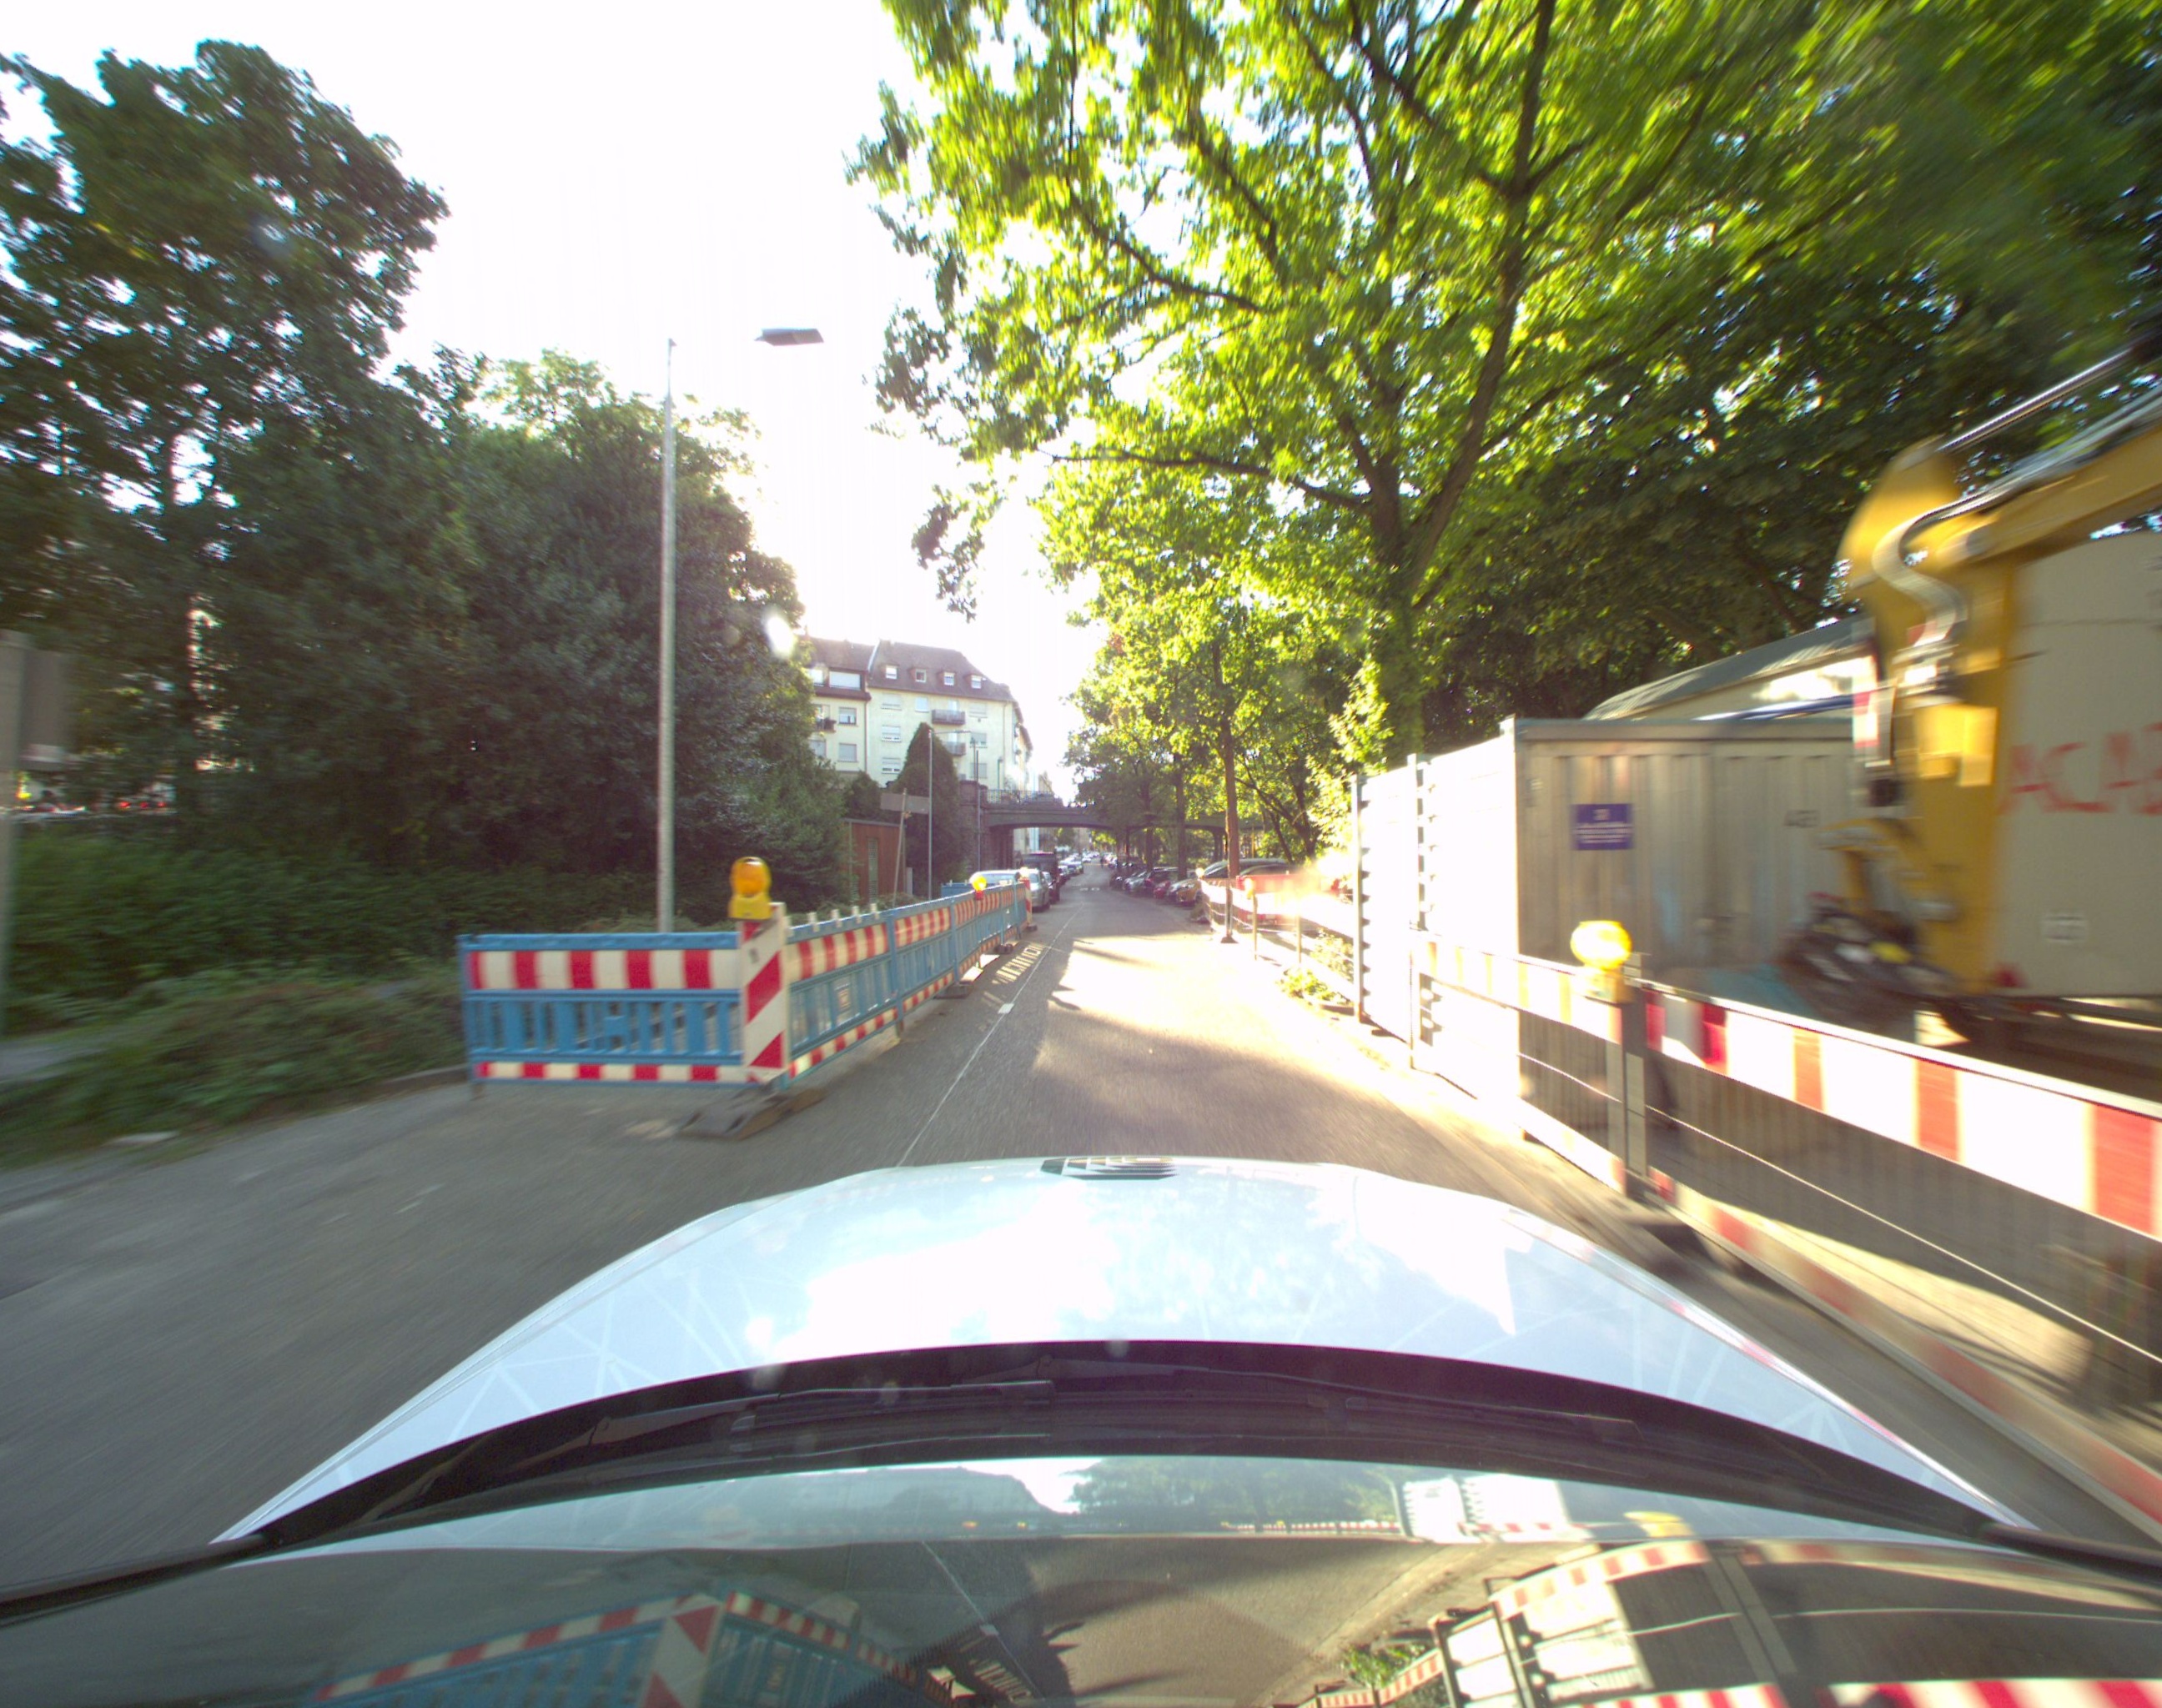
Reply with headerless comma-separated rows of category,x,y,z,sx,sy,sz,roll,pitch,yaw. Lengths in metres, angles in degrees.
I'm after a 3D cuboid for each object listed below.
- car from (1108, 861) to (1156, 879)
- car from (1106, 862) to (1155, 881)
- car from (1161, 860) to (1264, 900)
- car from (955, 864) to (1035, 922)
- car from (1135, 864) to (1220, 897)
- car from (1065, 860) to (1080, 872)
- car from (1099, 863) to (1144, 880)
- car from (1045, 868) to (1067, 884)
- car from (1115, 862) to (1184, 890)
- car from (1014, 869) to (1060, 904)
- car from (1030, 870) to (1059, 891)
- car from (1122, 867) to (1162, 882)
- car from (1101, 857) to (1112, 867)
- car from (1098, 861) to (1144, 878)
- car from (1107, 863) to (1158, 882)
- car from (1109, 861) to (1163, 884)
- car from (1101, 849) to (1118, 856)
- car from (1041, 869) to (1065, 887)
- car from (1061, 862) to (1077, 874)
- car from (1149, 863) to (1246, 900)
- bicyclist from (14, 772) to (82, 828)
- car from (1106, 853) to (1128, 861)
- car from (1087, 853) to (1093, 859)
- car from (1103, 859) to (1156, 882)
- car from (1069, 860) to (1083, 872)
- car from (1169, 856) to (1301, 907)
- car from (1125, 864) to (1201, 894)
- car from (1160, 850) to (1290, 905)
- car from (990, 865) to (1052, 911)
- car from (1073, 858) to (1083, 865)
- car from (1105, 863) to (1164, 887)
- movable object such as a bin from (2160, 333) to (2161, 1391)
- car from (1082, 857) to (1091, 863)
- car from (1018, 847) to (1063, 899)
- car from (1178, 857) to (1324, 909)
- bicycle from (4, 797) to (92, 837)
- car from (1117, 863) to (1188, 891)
car,4.810,1.554,77.140,4.374,1.610,1.780,1,-2,-1
car,4.524,1.621,74.493,4.374,1.610,1.780,1,-2,-1
car,5.920,1.201,37.023,4.374,1.702,1.915,1,-2,-1
car,-2.325,1.056,22.977,1.709,1.418,4.106,-2,-2,1
car,5.203,1.465,44.431,4.374,1.702,1.915,1,-2,-1
car,-1.094,1.518,104.640,1.806,1.398,3.975,-2,-2,1
car,4.009,1.722,81.593,4.374,1.610,1.780,1,-2,-1
car,-2.234,1.996,75.057,1.806,1.398,3.975,-2,-2,1
car,4.538,1.461,54.208,4.374,1.785,1.915,1,-2,-1
car,-1.962,1.454,37.388,1.806,1.453,4.350,-2,-2,1
car,-2.579,1.932,58.924,1.806,1.398,3.975,-2,-2,1
car,6.920,2.340,92.824,4.371,1.610,1.781,1,-2,1
car,4.386,1.471,140.590,1.768,1.610,4.402,1,-2,2
car,3.850,1.522,79.261,4.374,1.610,1.780,1,-2,-1
car,4.547,1.656,72.524,4.374,1.610,1.780,1,-2,-1
car,4.555,1.537,67.730,4.374,1.785,1.915,1,-2,-1
car,7.774,-0.405,221.828,4.371,1.610,1.781,1,-2,1
car,-2.318,1.981,68.553,1.806,1.398,3.975,-2,-2,1
car,-1.390,1.767,99.608,1.806,1.398,3.975,-2,-2,1
car,5.546,1.323,39.224,4.374,1.702,1.915,1,-2,-1
bicyclist,-26.665,-1.362,21.046,0.809,1.383,0.975,0,1,-34
car,7.534,0.635,170.651,4.371,1.610,1.781,1,-2,1
car,2.629,0.569,243.110,1.806,1.398,4.611,-2,-2,1
car,4.124,1.455,69.856,4.374,1.862,1.915,1,-2,-1
car,-0.612,1.628,109.771,1.806,1.398,3.975,-2,-2,1
car,5.451,0.980,29.176,4.374,1.702,1.915,1,-2,-1
car,4.880,1.495,49.009,4.374,1.702,1.915,1,-2,-1
car,5.559,0.926,31.823,4.729,1.997,1.915,1,-2,-2
car,-2.047,1.149,28.804,1.806,1.440,4.350,1,0,1
car,-0.607,1.504,159.799,1.806,1.398,3.975,-2,-2,1
car,4.119,1.640,63.016,4.374,1.785,1.915,1,-2,-1
movable object such as a bin,3.313,0.041,0.329,1.979,2.699,3.123,0,0,15
car,1.279,1.377,184.038,1.806,1.398,3.975,-2,-2,1
car,-2.039,1.006,42.618,2.041,2.497,5.694,1,-2,-1
car,5.546,0.963,26.916,4.376,1.606,1.915,1,-2,-3
bicycle,-26.681,-0.932,21.081,0.809,0.968,2.086,0,1,-34
car,4.510,1.475,51.934,4.374,1.702,1.915,1,-2,-1
